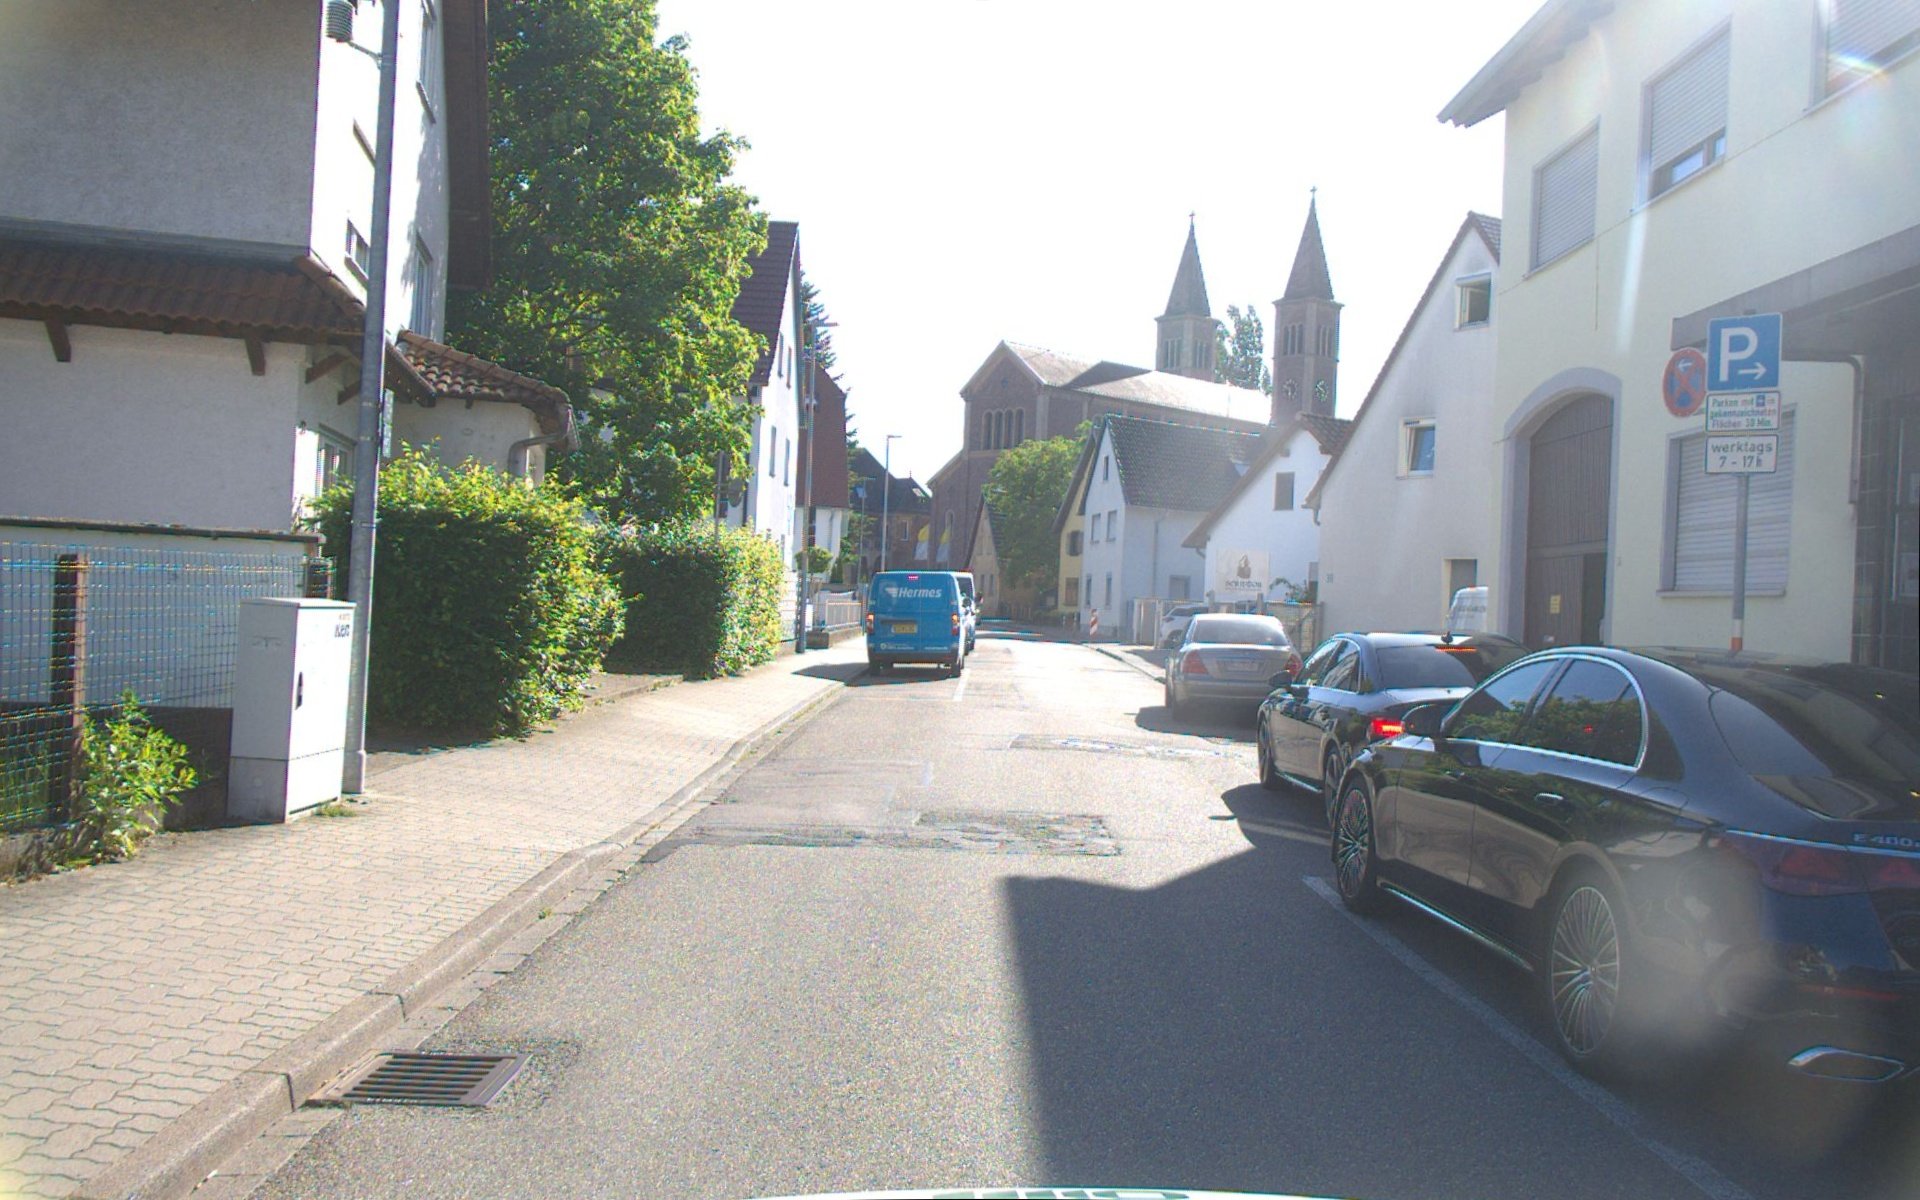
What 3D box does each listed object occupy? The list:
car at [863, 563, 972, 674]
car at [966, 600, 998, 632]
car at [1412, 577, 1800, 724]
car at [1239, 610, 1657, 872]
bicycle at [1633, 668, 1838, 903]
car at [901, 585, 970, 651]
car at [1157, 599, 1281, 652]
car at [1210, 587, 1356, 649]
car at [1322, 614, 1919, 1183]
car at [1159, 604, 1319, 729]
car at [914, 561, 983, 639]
[{"bbox_3d":[-0.758,0.331,32.413,1.863,1.951,5.070,2,0,1],"label":"car"},{"bbox_3d":[1.130,0.816,85.710,1.542,1.573,2.966,2,0,1],"label":"car"},{"bbox_3d":[8.875,0.673,22.935,4.671,1.919,1.906,0,0,-7],"label":"car"},{"bbox_3d":[3.532,0.916,13.010,1.772,1.501,4.844,4,0,0],"label":"car"},{"bbox_3d":[4.453,1.024,9.600,0.497,1.178,1.508,1,0,1],"label":"bicycle"},{"bbox_3d":[-0.616,0.442,43.923,1.679,1.626,3.925,2,0,1],"label":"car"},{"bbox_3d":[8.313,0.800,53.071,3.829,1.518,1.848,2,0,9],"label":"car"},{"bbox_3d":[9.730,0.539,49.842,3.989,1.718,1.895,2,0,-28],"label":"car"},{"bbox_3d":[3.019,0.878,6.911,1.772,1.501,4.842,4,-1,-1],"label":"car"},{"bbox_3d":[3.880,0.866,23.676,1.773,1.501,4.662,4,0,5],"label":"car"},{"bbox_3d":[-0.331,-0.009,55.666,2.152,2.431,6.065,1,0,1],"label":"car"}]
